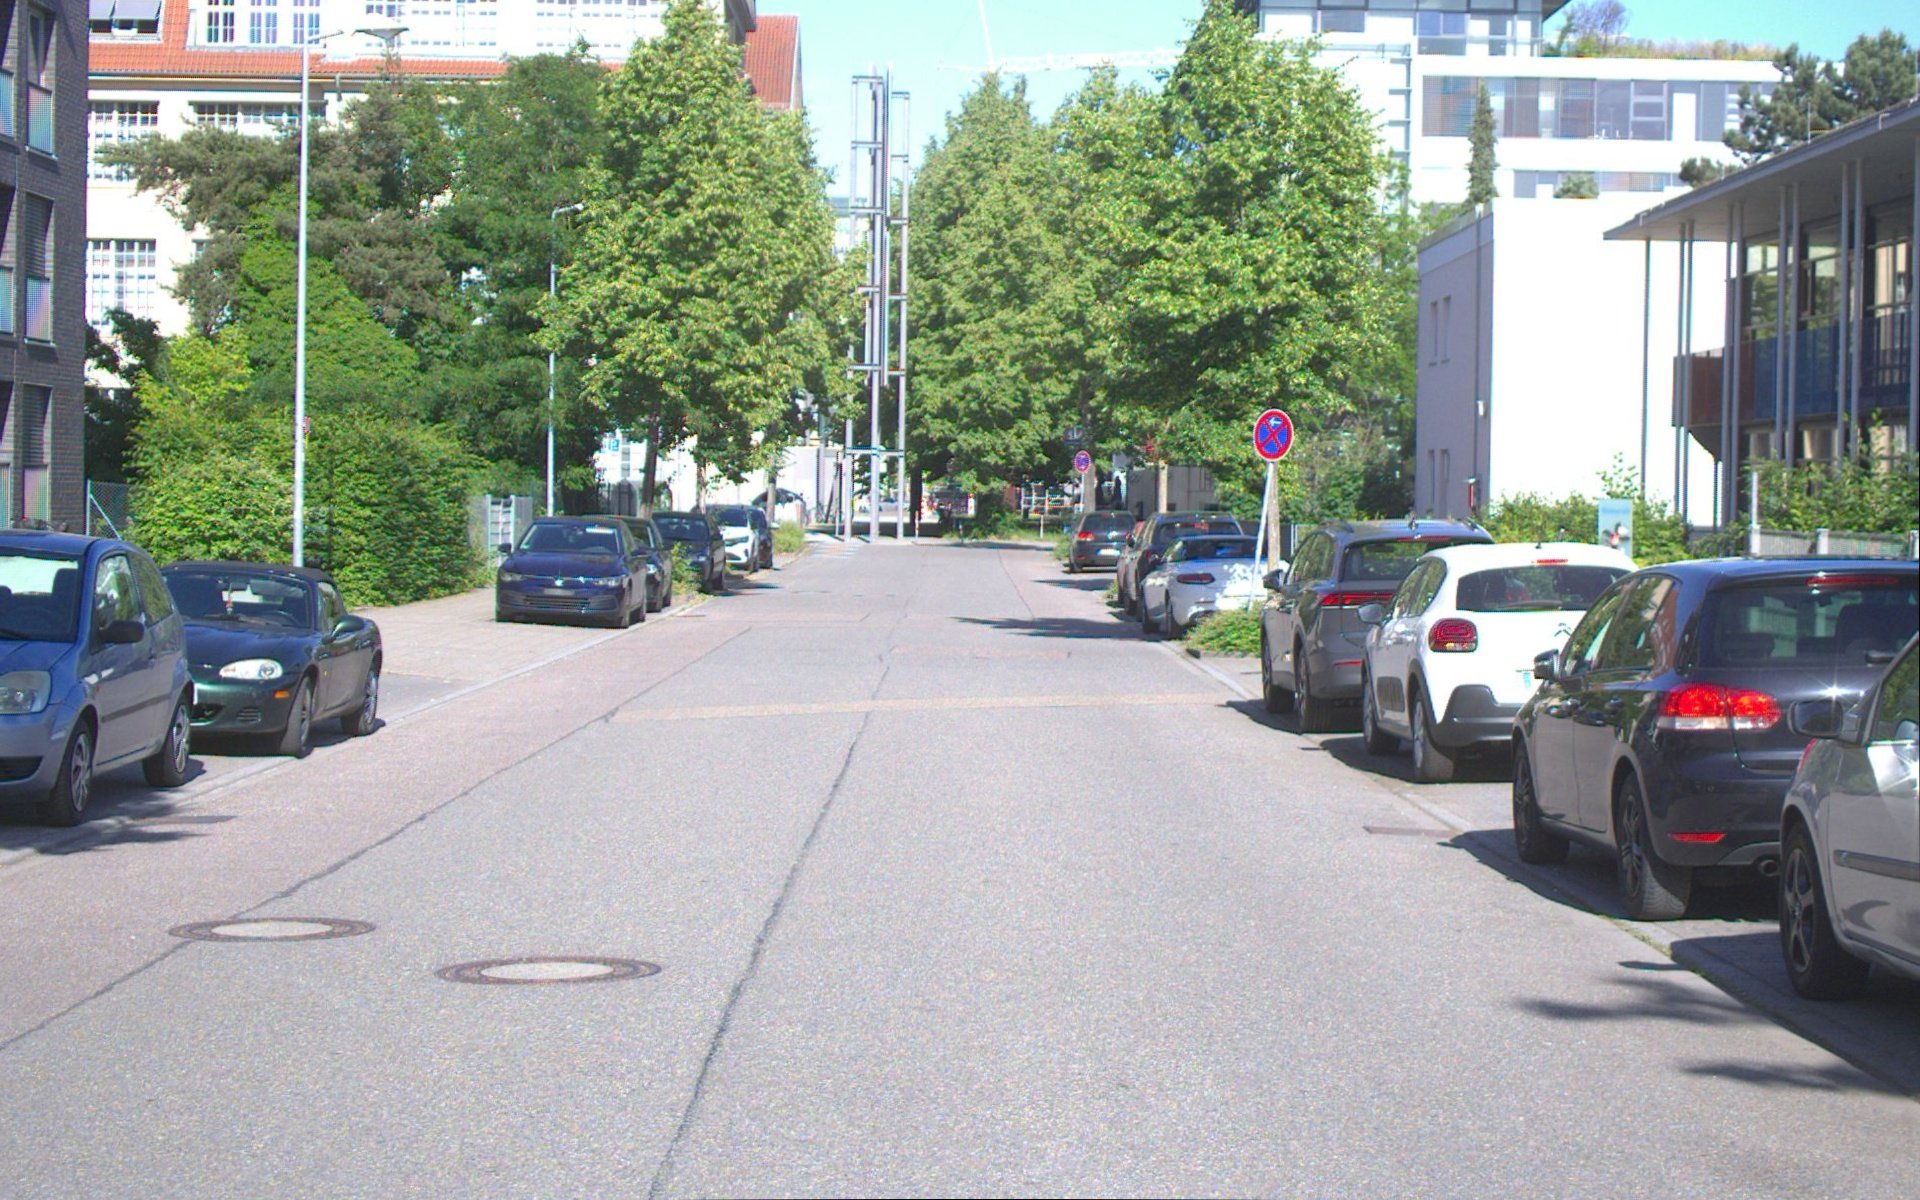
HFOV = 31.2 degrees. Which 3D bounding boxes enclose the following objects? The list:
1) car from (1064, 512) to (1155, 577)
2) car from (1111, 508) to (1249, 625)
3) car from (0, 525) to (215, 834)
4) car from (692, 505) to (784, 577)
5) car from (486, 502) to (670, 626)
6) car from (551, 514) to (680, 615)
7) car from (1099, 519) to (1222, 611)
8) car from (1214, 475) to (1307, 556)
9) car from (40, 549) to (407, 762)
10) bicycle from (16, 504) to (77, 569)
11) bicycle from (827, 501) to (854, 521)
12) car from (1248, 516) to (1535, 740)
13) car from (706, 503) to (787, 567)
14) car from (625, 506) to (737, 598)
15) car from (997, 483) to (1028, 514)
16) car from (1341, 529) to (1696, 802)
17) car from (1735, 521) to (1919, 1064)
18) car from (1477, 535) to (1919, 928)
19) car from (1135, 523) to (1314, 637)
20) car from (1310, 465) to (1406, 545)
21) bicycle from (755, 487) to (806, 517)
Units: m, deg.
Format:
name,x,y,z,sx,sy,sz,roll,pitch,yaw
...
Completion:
name,x,y,z,sx,sy,sz,roll,pitch,yaw
car,3.550,-1.351,82.429,1.993,1.481,4.000,1,1,0
car,3.387,-0.556,53.541,1.821,1.713,4.120,-1,2,0
car,-5.210,0.342,18.535,1.611,1.460,3.875,1,1,-1
car,-4.927,-1.325,76.687,1.777,1.525,4.000,1,1,0
car,-5.203,-0.509,47.281,1.762,1.522,4.000,4,1,3
car,-5.366,-0.587,53.904,1.630,1.496,3.578,1,1,0
car,3.452,-0.625,59.787,1.834,1.510,3.881,1,1,0
car,7.790,-2.194,89.427,2.024,2.007,4.000,1,1,0
car,-4.986,0.325,23.744,1.599,1.213,3.875,3,2,1
bicycle,-12.398,-0.864,46.672,0.253,0.834,1.774,1,2,3
bicycle,-4.214,-3.126,121.041,0.373,0.681,1.080,-1,3,-36
car,3.424,0.159,28.002,1.725,1.646,4.326,-1,2,-1
car,-5.059,-1.567,81.828,1.700,1.465,3.461,1,2,0
car,-5.102,-0.911,63.213,1.694,1.599,3.942,1,1,0
car,3.548,-6.922,233.300,1.993,2.006,4.001,1,2,1
car,3.604,0.360,22.787,1.679,1.536,3.849,1,2,0
car,3.605,0.575,10.281,1.662,1.507,4.001,1,2,0
car,3.479,0.486,15.271,1.687,1.489,4.078,1,1,-1
car,3.524,-0.296,46.454,1.829,1.417,4.234,-2,1,-3
car,10.332,-2.476,89.477,1.993,2.007,4.000,1,2,0
bicycle,-5.272,-2.878,101.076,1.467,0.839,0.336,1,2,-4
